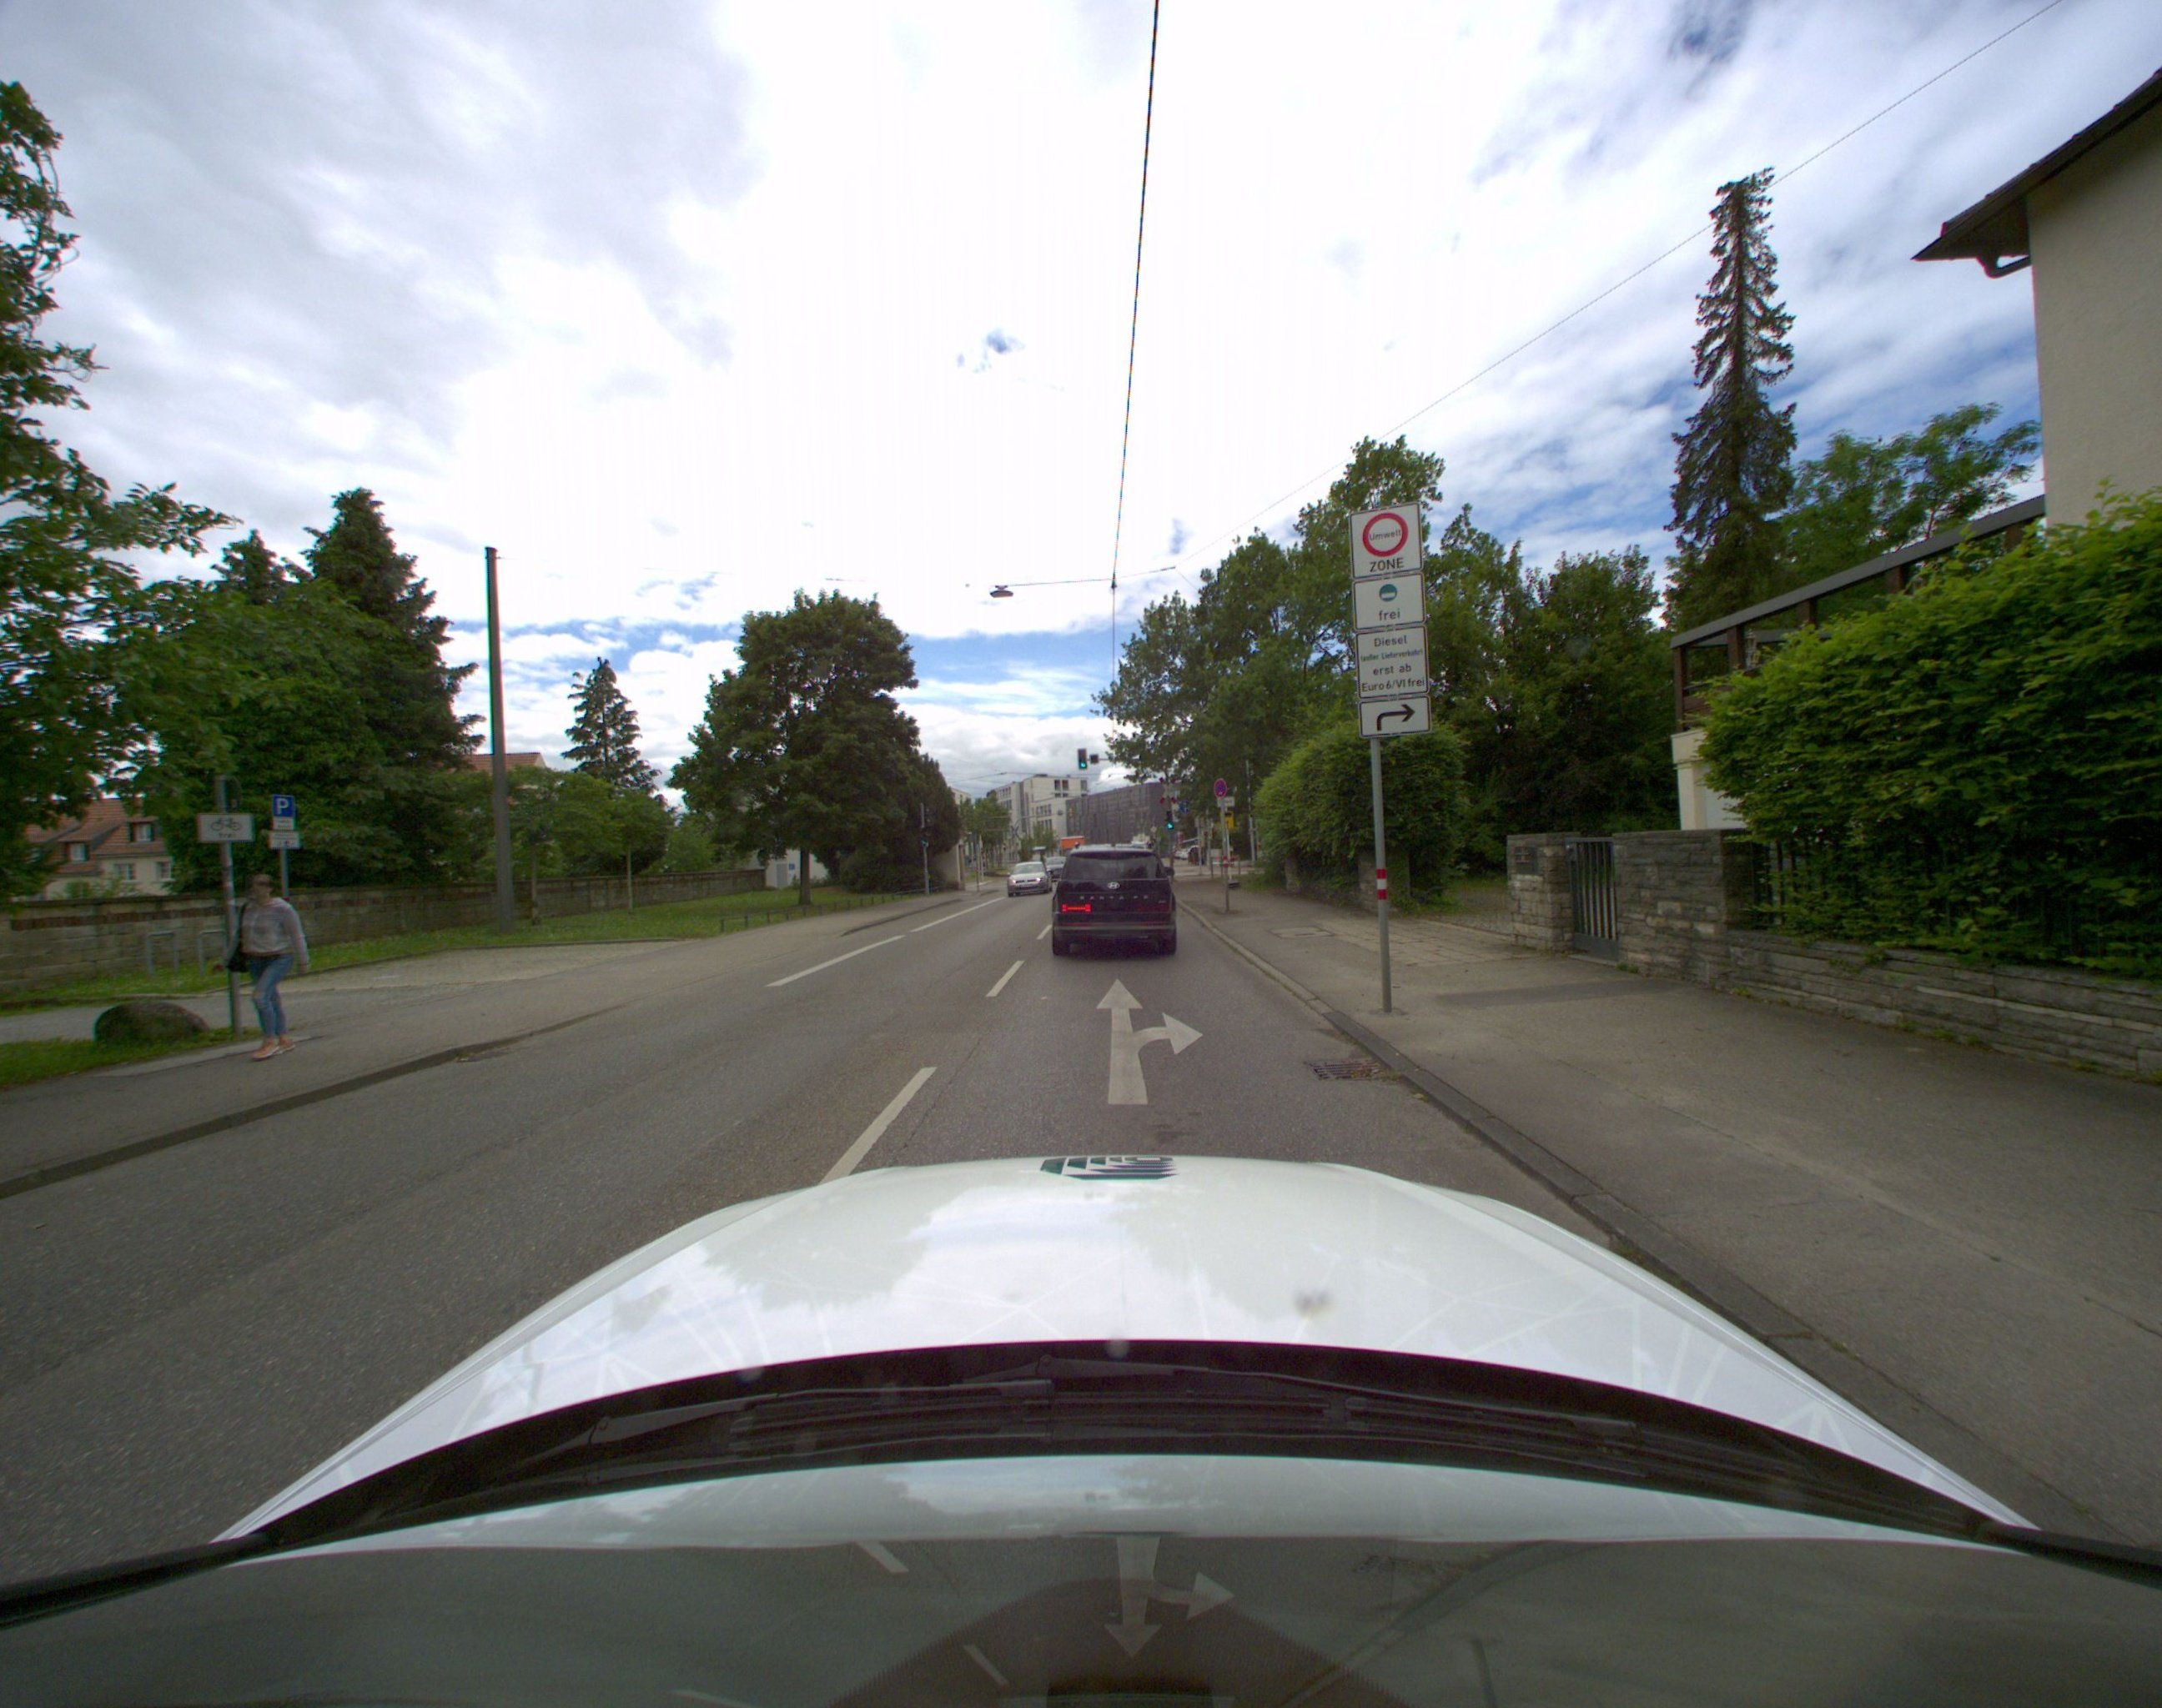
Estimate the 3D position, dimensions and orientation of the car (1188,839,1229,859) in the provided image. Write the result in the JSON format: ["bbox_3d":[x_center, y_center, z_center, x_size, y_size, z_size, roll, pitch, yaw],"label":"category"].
[{"bbox_3d":[12.809,-0.513,81.848,1.827,1.748,4.726,-3,1,39],"label":"car"}]

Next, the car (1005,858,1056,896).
[{"bbox_3d":[-2.200,0.989,36.512,1.718,1.462,4.157,-4,0,3],"label":"car"}]

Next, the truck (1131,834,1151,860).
[{"bbox_3d":[8.498,-1.007,116.183,2.562,3.525,7.818,-3,0,4],"label":"truck"}]

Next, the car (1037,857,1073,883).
[{"bbox_3d":[-1.709,1.037,54.490,1.932,1.531,4.528,-5,0,2],"label":"car"}]

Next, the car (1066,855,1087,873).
[{"bbox_3d":[-0.348,0.848,71.525,1.658,1.449,3.828,-3,0,1],"label":"car"}]

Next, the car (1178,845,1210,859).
[{"bbox_3d":[14.450,-0.265,103.812,3.657,1.435,1.578,-5,-1,-25],"label":"car"}]

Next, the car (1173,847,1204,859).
[{"bbox_3d":[14.486,-0.162,109.874,3.813,1.474,1.782,-1,-1,-28],"label":"car"}]

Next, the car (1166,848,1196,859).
[{"bbox_3d":[14.172,-0.113,115.286,3.808,1.474,1.784,-1,-1,-23],"label":"car"}]

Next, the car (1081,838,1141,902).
[{"bbox_3d":[1.001,0.517,29.691,1.850,2.033,4.435,-3,0,-1],"label":"car"}]

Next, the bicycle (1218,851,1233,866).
[{"bbox_3d":[11.652,0.344,65.875,0.548,1.138,1.872,-3,3,-10],"label":"bicycle"}]

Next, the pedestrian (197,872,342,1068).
[{"bbox_3d":[-7.928,1.094,7.990,0.611,1.811,0.785,0,-1,1],"label":"pedestrian"}]

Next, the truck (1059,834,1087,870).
[{"bbox_3d":[-0.873,-0.201,93.022,2.760,3.718,8.469,-4,0,1],"label":"truck"}]

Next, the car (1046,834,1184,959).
[{"bbox_3d":[0.479,0.593,13.645,1.909,1.725,4.169,-2,0,0],"label":"car"}]
